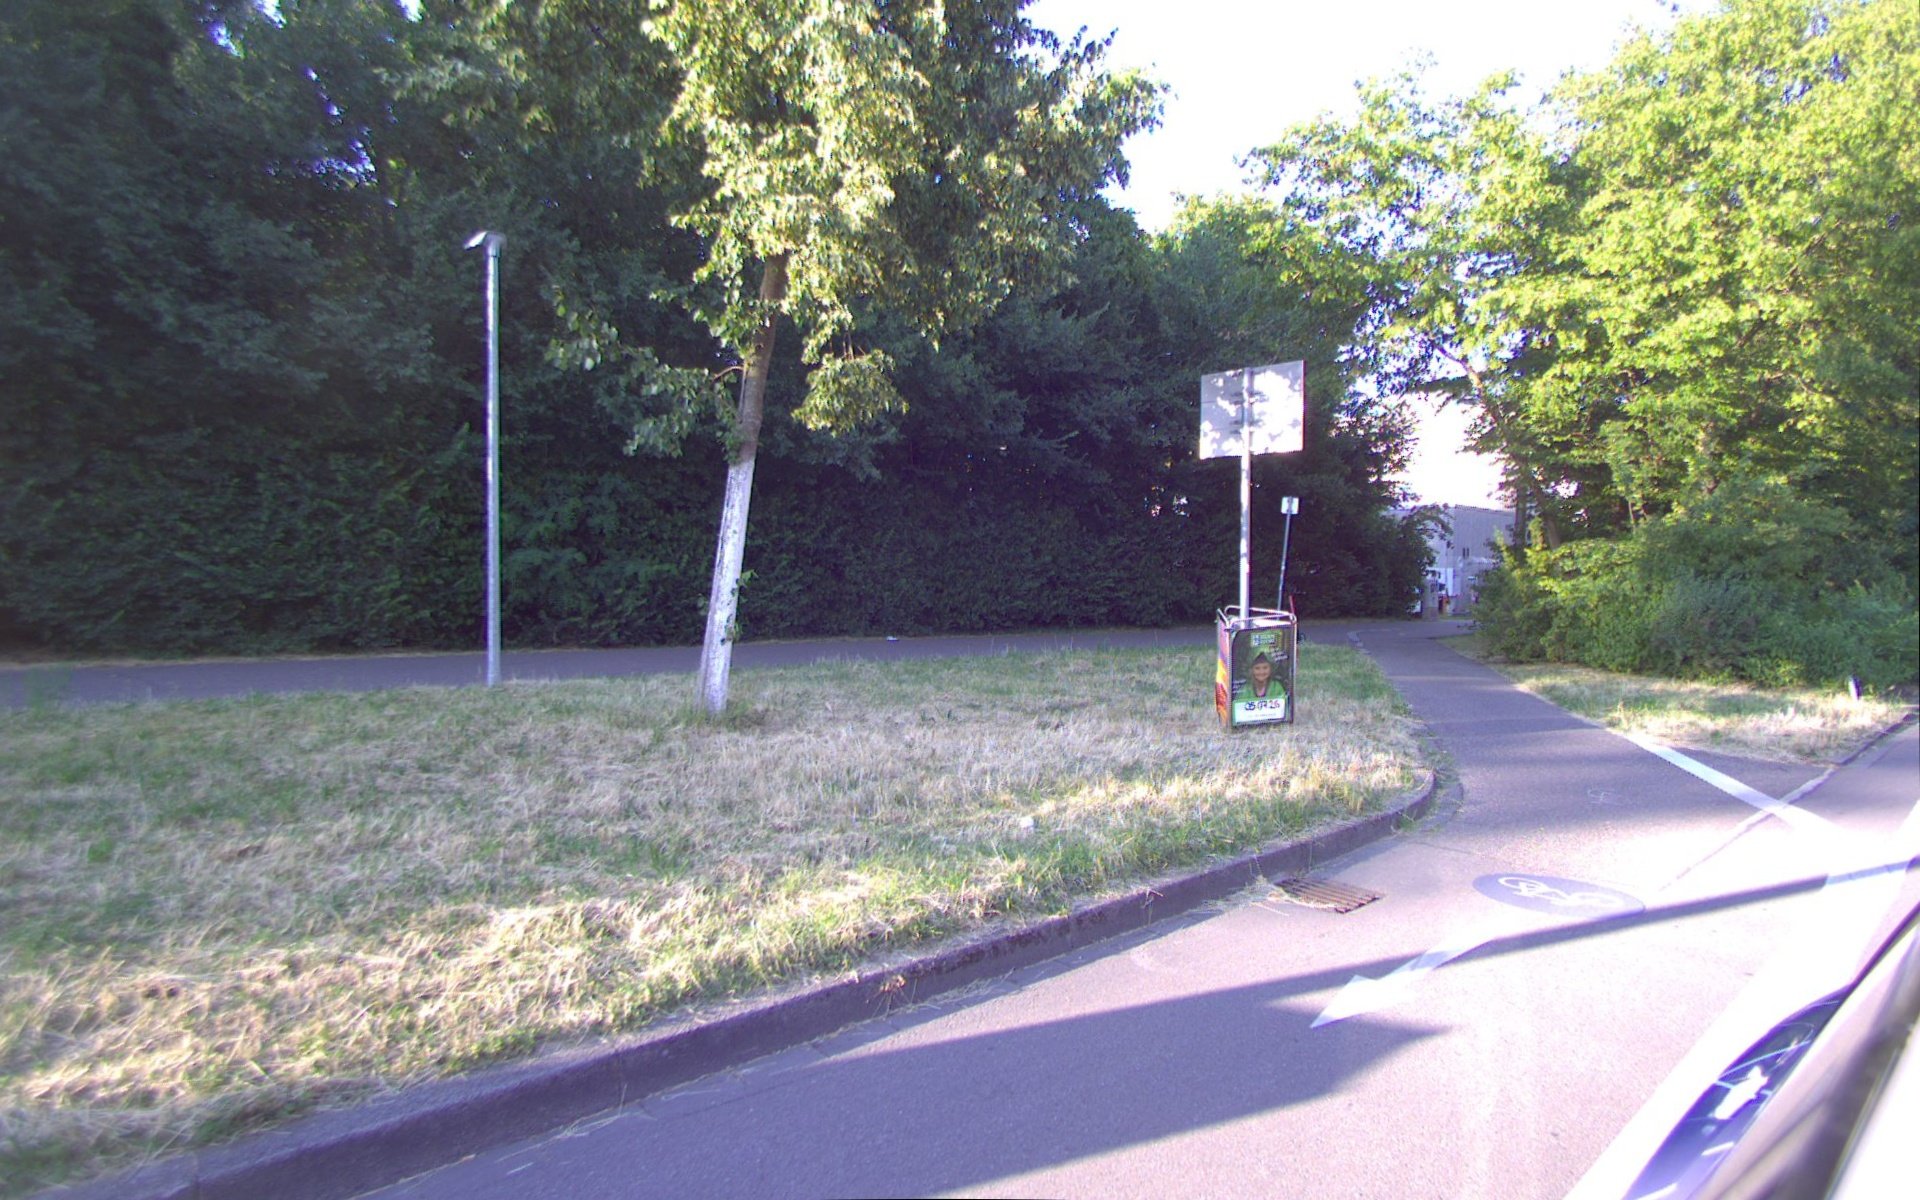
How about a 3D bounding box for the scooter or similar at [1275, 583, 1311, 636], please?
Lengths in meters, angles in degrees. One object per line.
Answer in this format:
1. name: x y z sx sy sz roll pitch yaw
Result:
1. scooter or similar: 7.021 0.206 21.306 0.819 1.100 0.194 1 -1 -26
